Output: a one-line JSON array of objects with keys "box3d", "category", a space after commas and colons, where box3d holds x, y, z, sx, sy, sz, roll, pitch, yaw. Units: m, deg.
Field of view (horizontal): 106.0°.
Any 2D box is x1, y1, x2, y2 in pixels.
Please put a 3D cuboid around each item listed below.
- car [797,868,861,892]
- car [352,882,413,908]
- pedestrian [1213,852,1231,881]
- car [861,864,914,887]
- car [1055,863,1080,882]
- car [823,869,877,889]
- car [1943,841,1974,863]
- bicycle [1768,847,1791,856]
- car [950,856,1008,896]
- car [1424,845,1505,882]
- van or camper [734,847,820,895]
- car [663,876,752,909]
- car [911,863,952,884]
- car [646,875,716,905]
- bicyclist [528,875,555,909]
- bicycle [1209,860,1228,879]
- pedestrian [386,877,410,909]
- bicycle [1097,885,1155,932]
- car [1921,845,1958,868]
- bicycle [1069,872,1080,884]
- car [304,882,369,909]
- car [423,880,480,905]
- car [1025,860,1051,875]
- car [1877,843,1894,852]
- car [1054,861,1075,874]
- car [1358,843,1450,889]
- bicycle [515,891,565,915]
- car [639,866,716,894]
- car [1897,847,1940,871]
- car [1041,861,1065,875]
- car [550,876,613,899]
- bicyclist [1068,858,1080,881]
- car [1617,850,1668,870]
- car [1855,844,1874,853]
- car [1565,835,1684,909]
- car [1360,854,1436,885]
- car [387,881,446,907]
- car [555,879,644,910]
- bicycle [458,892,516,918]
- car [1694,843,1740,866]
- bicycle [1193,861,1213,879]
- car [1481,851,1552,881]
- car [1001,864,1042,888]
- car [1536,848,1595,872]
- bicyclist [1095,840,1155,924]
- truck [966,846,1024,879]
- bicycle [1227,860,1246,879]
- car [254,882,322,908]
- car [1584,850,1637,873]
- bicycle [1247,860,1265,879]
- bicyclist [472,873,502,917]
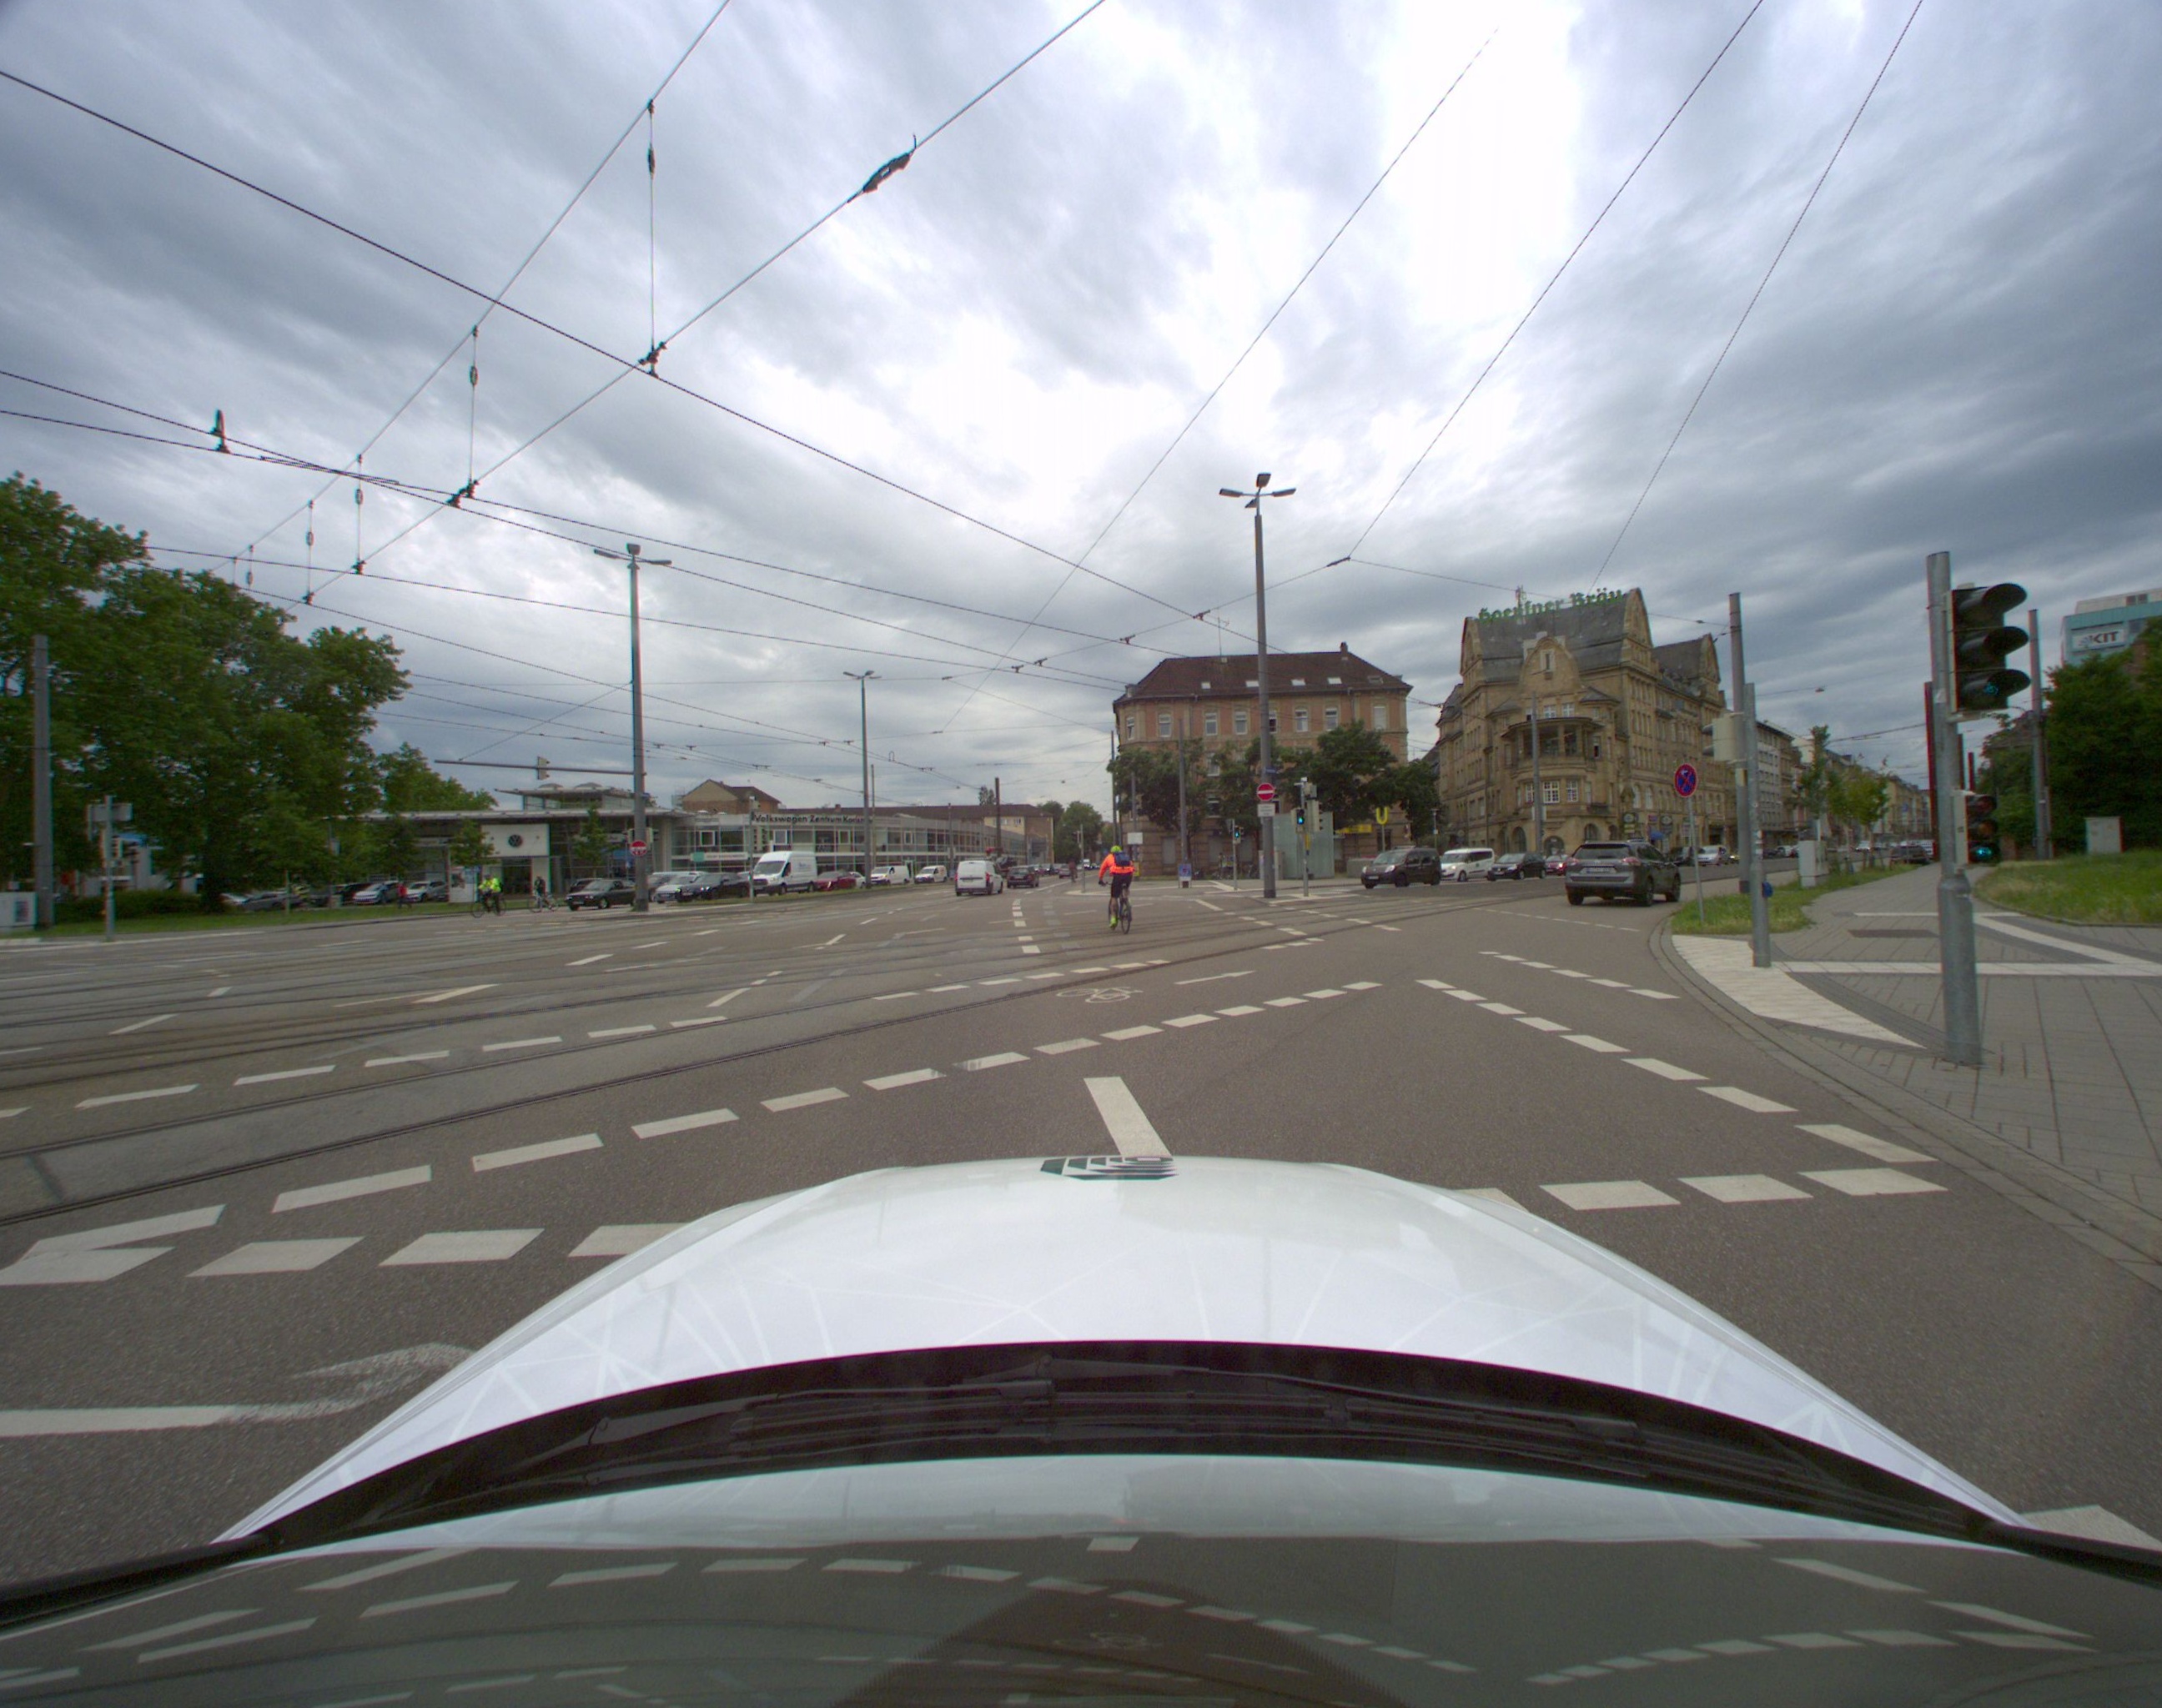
[{"box3d": [-16.844, 1.718, 54.644, 1.980, 1.420, 4.816, -2, -1, 11], "category": "car"}, {"box3d": [-58.646, 3.409, 68.448, 1.992, 2.014, 3.990, 0, -1, -7], "category": "car"}, {"box3d": [8.773, 0.786, 50.666, 0.911, 1.728, 0.599, -1, -1, -15], "category": "pedestrian"}, {"box3d": [-16.780, 1.830, 70.802, 2.141, 1.856, 5.467, -2, -1, 14], "category": "car"}, {"box3d": [-1.399, 1.968, 87.028, 1.981, 2.014, 4.010, -1, -1, 9], "category": "car"}, {"box3d": [-18.267, 1.974, 64.649, 1.979, 1.420, 4.768, -2, -1, 14], "category": "car"}, {"box3d": [90.859, -0.253, 84.295, 5.011, 2.115, 1.835, -1, -4, -41], "category": "car"}, {"box3d": [88.219, -0.279, 102.880, 2.209, 1.126, 0.507, -2, -1, 42], "category": "bicycle"}, {"box3d": [-5.184, 1.090, 42.073, 1.902, 1.940, 4.140, -2, -1, 8], "category": "car"}, {"box3d": [21.505, 0.527, 45.589, 5.123, 1.916, 1.848, -1, -1, -36], "category": "car"}, {"box3d": [-17.797, 0.987, 48.103, 2.404, 2.611, 6.059, -1, -1, 5], "category": "van or camper"}, {"box3d": [-18.519, 1.866, 40.604, 1.984, 1.420, 4.667, -2, -1, 4], "category": "car"}, {"box3d": [-14.523, 1.872, 79.358, 1.978, 1.839, 4.542, -2, -1, 16], "category": "car"}, {"box3d": [-21.118, 1.882, 43.179, 1.628, 1.420, 3.742, -2, -1, 4], "category": "car"}, {"box3d": [-24.515, 1.720, 37.011, 0.562, 1.508, 0.859, -2, 0, 9], "category": "bicyclist"}, {"box3d": [10.130, 1.163, 59.911, 0.950, 1.354, 3.135, -1, -1, 18], "category": "bicycle"}, {"box3d": [-41.604, 2.388, 49.639, 0.701, 1.900, 0.866, -1, -2, 18], "category": "pedestrian"}, {"box3d": [0.888, 1.070, 16.516, 0.557, 0.848, 2.063, -1, -1, -14], "category": "bicycle"}, {"box3d": [66.834, 0.181, 63.397, 3.951, 1.574, 1.739, -1, -3, -41], "category": "car"}, {"box3d": [-0.502, 1.746, 59.534, 0.618, 0.793, 1.588, -2, -1, -7], "category": "bicycle"}, {"box3d": [-61.662, 3.404, 67.511, 1.992, 2.014, 3.990, 0, -1, -7], "category": "car"}, {"box3d": [-53.324, 3.240, 69.099, 1.992, 2.014, 3.990, 0, -1, -7], "category": "car"}, {"box3d": [-5.530, 1.781, 105.516, 1.978, 1.839, 4.542, -2, -1, 16], "category": "car"}, {"box3d": [147.533, -1.168, 149.299, 4.638, 1.672, 1.744, -1, -1, -40], "category": "car"}, {"box3d": [-2.402, 2.021, 119.567, 1.980, 1.839, 4.537, -2, -1, 11], "category": "car"}, {"box3d": [14.387, 0.520, 36.167, 4.406, 1.900, 1.675, -1, -1, -37], "category": "car"}, {"box3d": [-24.511, 2.199, 36.950, 0.515, 0.926, 2.228, -2, 0, 9], "category": "bicycle"}, {"box3d": [-30.198, 1.936, 61.076, 4.744, 2.014, 2.123, -1, -1, 4], "category": "car"}, {"box3d": [54.070, 0.305, 52.562, 3.951, 1.434, 1.623, -1, -3, -41], "category": "car"}, {"box3d": [-3.804, 1.858, 112.837, 1.978, 1.839, 4.542, -2, -1, 16], "category": "car"}, {"box3d": [-34.130, 2.286, 55.761, 1.626, 1.420, 3.745, -2, -1, 7], "category": "car"}, {"box3d": [-0.519, 1.128, 59.555, 0.687, 1.708, 0.796, -2, -1, -7], "category": "bicyclist"}, {"box3d": [42.160, 0.409, 61.087, 4.278, 1.380, 1.911, -1, -1, -38], "category": "car"}, {"box3d": [130.982, -0.880, 136.117, 4.638, 1.449, 1.744, -1, -1, -40], "category": "car"}, {"box3d": [14.410, 0.415, 21.509, 3.945, 1.756, 1.734, -1, 0, -43], "category": "car"}, {"box3d": [16.090, 0.788, 41.255, 4.018, 1.442, 1.675, -1, -1, -37], "category": "car"}, {"box3d": [-56.165, 3.348, 68.909, 1.992, 2.014, 3.990, 0, -1, -7], "category": "car"}, {"box3d": [-22.242, 1.825, 37.771, 1.679, 1.247, 3.742, -2, -1, 4], "category": "car"}, {"box3d": [-24.901, 2.134, 34.182, 0.515, 0.930, 2.228, -2, 0, 9], "category": "bicycle"}, {"box3d": [52.146, 0.050, 66.758, 4.934, 1.706, 1.847, -1, -2, -39], "category": "car"}, {"box3d": [8.997, 1.179, 60.136, 0.950, 1.354, 3.135, -1, -1, 18], "category": "bicycle"}, {"box3d": [22.675, 0.598, 42.314, 4.018, 1.442, 1.675, -1, -1, -37], "category": "car"}, {"box3d": [-3.814, 1.419, 53.047, 1.984, 1.420, 4.005, -2, -1, 5], "category": "car"}, {"box3d": [31.265, 0.395, 52.542, 3.913, 1.399, 1.848, -1, -3, -37], "category": "car"}, {"box3d": [0.870, 0.554, 16.580, 0.828, 1.621, 1.315, -1, -1, -15], "category": "bicyclist"}, {"box3d": [-9.790, 1.003, 93.940, 2.771, 3.549, 9.268, -1, -1, 20], "category": "truck"}, {"box3d": [11.411, 1.145, 59.676, 0.950, 1.354, 3.135, -1, -1, 18], "category": "bicycle"}, {"box3d": [-65.155, 3.368, 66.993, 1.992, 2.014, 3.990, 0, -1, -7], "category": "car"}, {"box3d": [35.977, 0.524, 55.283, 4.384, 1.380, 1.731, -1, -4, -40], "category": "car"}, {"box3d": [12.878, 1.132, 59.775, 0.950, 1.354, 3.135, -1, -1, 18], "category": "bicycle"}, {"box3d": [-24.899, 1.709, 34.158, 0.624, 1.803, 0.799, -2, -1, 8], "category": "bicyclist"}]
